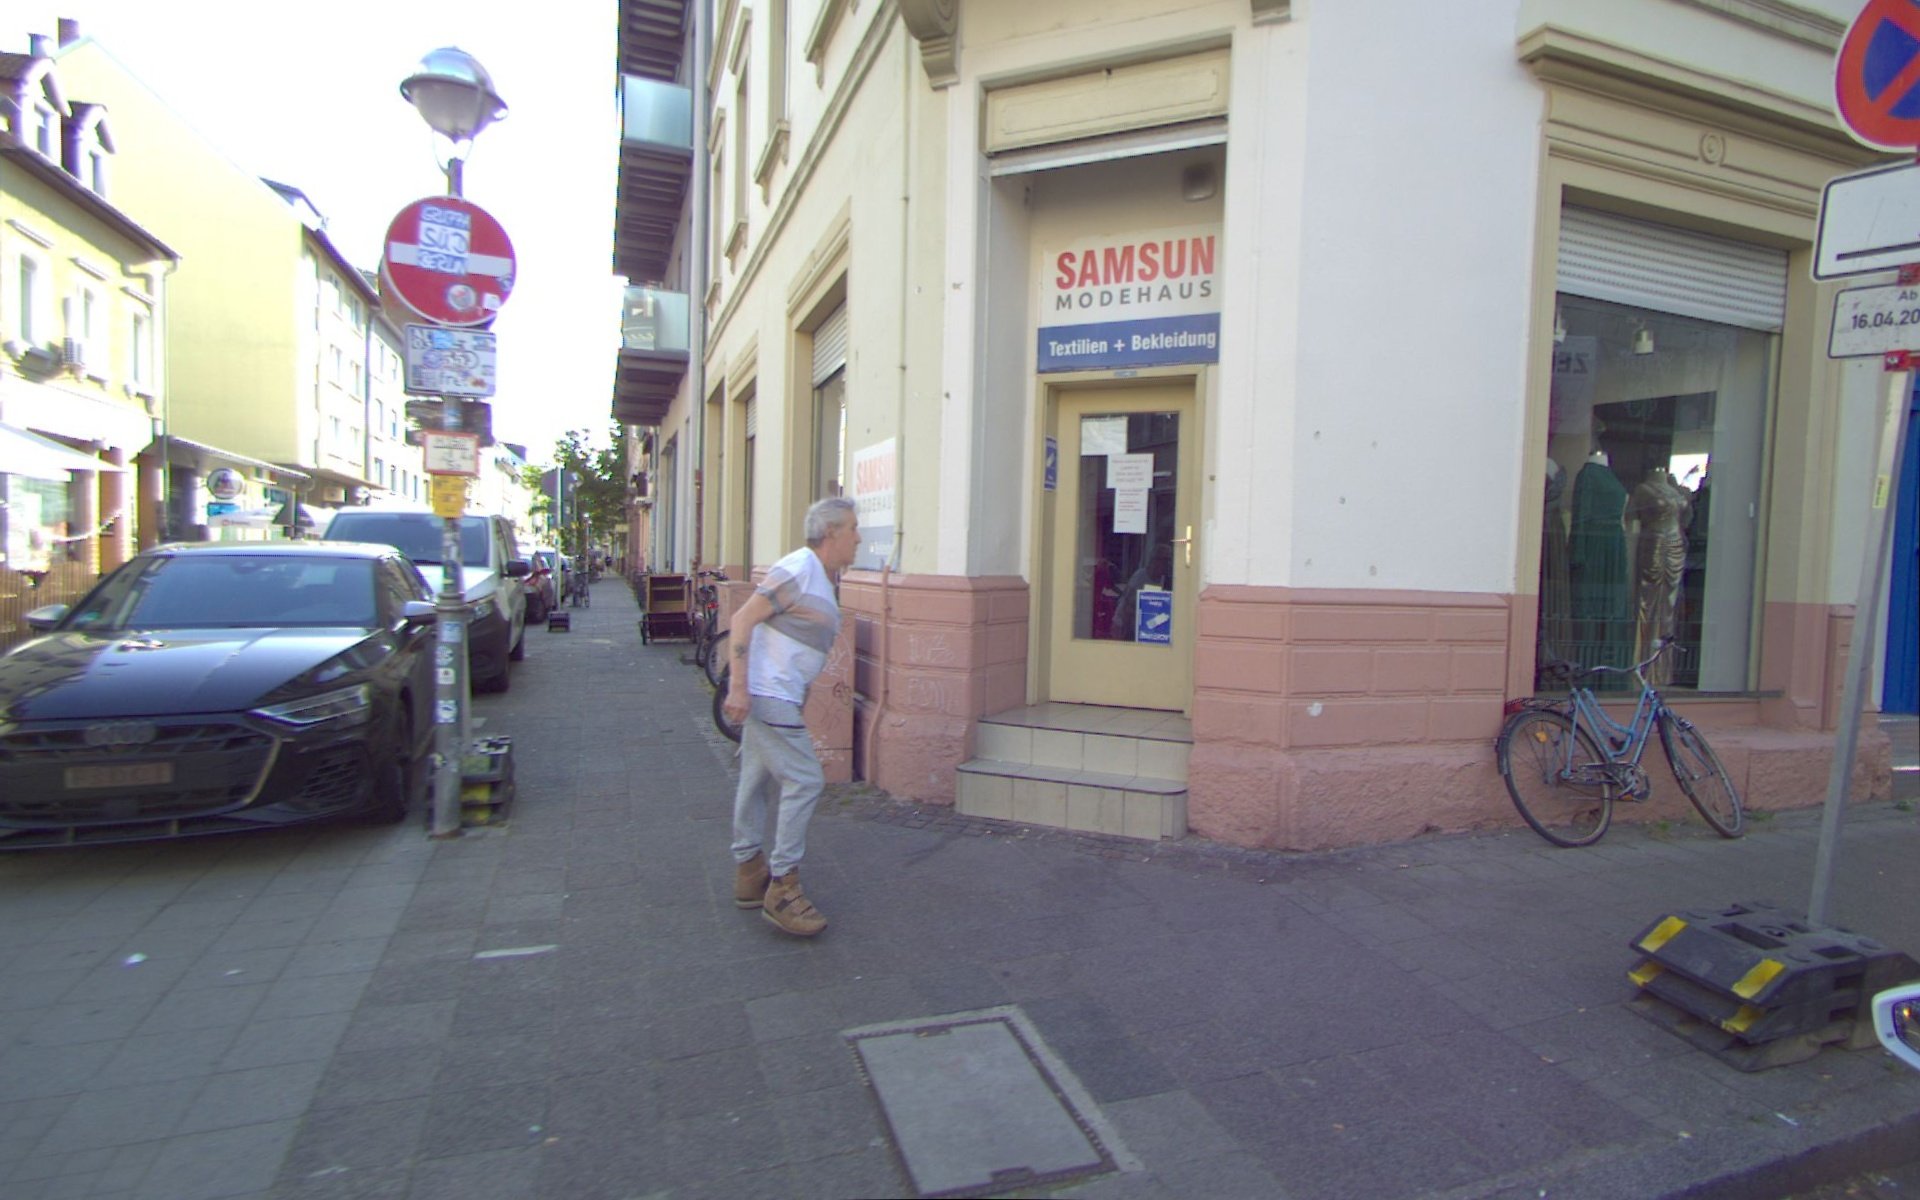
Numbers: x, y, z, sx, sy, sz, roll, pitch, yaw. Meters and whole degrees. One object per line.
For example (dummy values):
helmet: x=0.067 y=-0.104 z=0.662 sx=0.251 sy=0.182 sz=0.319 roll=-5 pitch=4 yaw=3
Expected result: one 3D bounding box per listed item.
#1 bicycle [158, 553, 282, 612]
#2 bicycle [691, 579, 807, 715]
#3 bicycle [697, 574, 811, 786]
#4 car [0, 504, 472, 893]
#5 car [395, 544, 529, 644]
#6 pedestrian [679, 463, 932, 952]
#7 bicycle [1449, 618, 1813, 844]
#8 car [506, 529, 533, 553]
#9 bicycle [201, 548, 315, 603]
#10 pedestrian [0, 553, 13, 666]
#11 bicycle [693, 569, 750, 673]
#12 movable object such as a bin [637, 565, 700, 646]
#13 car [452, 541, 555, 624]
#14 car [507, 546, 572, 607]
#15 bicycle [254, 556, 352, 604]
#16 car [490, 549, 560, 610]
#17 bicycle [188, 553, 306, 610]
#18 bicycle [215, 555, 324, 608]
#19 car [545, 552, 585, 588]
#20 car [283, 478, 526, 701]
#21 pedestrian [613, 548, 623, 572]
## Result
bicycle: x=-14.656 y=-0.335 z=19.924 sx=1.914 sy=1.085 sz=0.604 roll=1 pitch=3 yaw=-44
bicycle: x=-2.039 y=0.390 z=9.515 sx=0.604 sy=1.085 sz=1.915 roll=2 pitch=3 yaw=-26
bicycle: x=-1.412 y=0.449 z=6.737 sx=0.602 sy=1.164 sz=1.922 roll=2 pitch=3 yaw=-14
car: x=-3.951 y=0.293 z=5.901 sx=1.734 sy=1.475 sz=4.128 roll=1 pitch=2 yaw=-23
car: x=-8.045 y=-0.164 z=16.527 sx=1.734 sy=1.429 sz=3.943 roll=1 pitch=2 yaw=-23
pedestrian: x=-0.640 y=0.353 z=3.956 sx=0.852 sy=1.725 sz=0.692 roll=-1 pitch=7 yaw=-20
bicycle: x=3.624 y=0.668 z=5.430 sx=1.790 sy=1.036 sz=0.602 roll=2 pitch=5 yaw=-20
car: x=-41.642 y=-5.553 z=95.001 sx=1.968 sy=2.115 sz=5.473 roll=1 pitch=2 yaw=-21
bicycle: x=-15.132 y=-0.529 z=21.687 sx=1.896 sy=1.085 sz=0.610 roll=2 pitch=3 yaw=-16
pedestrian: x=-11.301 y=0.096 z=11.325 sx=0.710 sy=1.283 sz=0.680 roll=4 pitch=3 yaw=22
bicycle: x=-2.968 y=0.223 z=12.503 sx=0.602 sy=1.137 sz=1.922 roll=2 pitch=3 yaw=-14
movable object such as a bin: x=-4.623 y=0.062 z=15.871 sx=0.873 sy=1.162 sz=1.610 roll=2 pitch=3 yaw=-18
car: x=-9.797 y=-0.424 z=21.831 sx=1.745 sy=1.591 sz=4.389 roll=1 pitch=2 yaw=-21
car: x=-13.117 y=-0.774 z=31.318 sx=1.747 sy=1.737 sz=4.133 roll=1 pitch=2 yaw=-23
bicycle: x=-16.081 y=-0.493 z=24.630 sx=1.896 sy=1.085 sz=0.610 roll=2 pitch=3 yaw=-16
car: x=-11.547 y=-0.581 z=26.706 sx=1.576 sy=1.458 sz=3.563 roll=1 pitch=2 yaw=-23
bicycle: x=-14.919 y=-0.383 z=21.050 sx=1.896 sy=1.085 sz=0.610 roll=2 pitch=3 yaw=-16
bicycle: x=-15.500 y=-0.425 z=22.595 sx=1.896 sy=1.085 sz=0.610 roll=2 pitch=3 yaw=-16
car: x=-19.763 y=-1.535 z=50.173 sx=1.747 sy=1.674 sz=4.133 roll=1 pitch=2 yaw=-23
car: x=-5.832 y=-0.179 z=11.126 sx=1.831 sy=1.875 sz=5.072 roll=1 pitch=2 yaw=-23
pedestrian: x=-30.960 y=-3.625 z=90.916 sx=0.848 sy=2.041 sz=0.928 roll=2 pitch=3 yaw=-18
